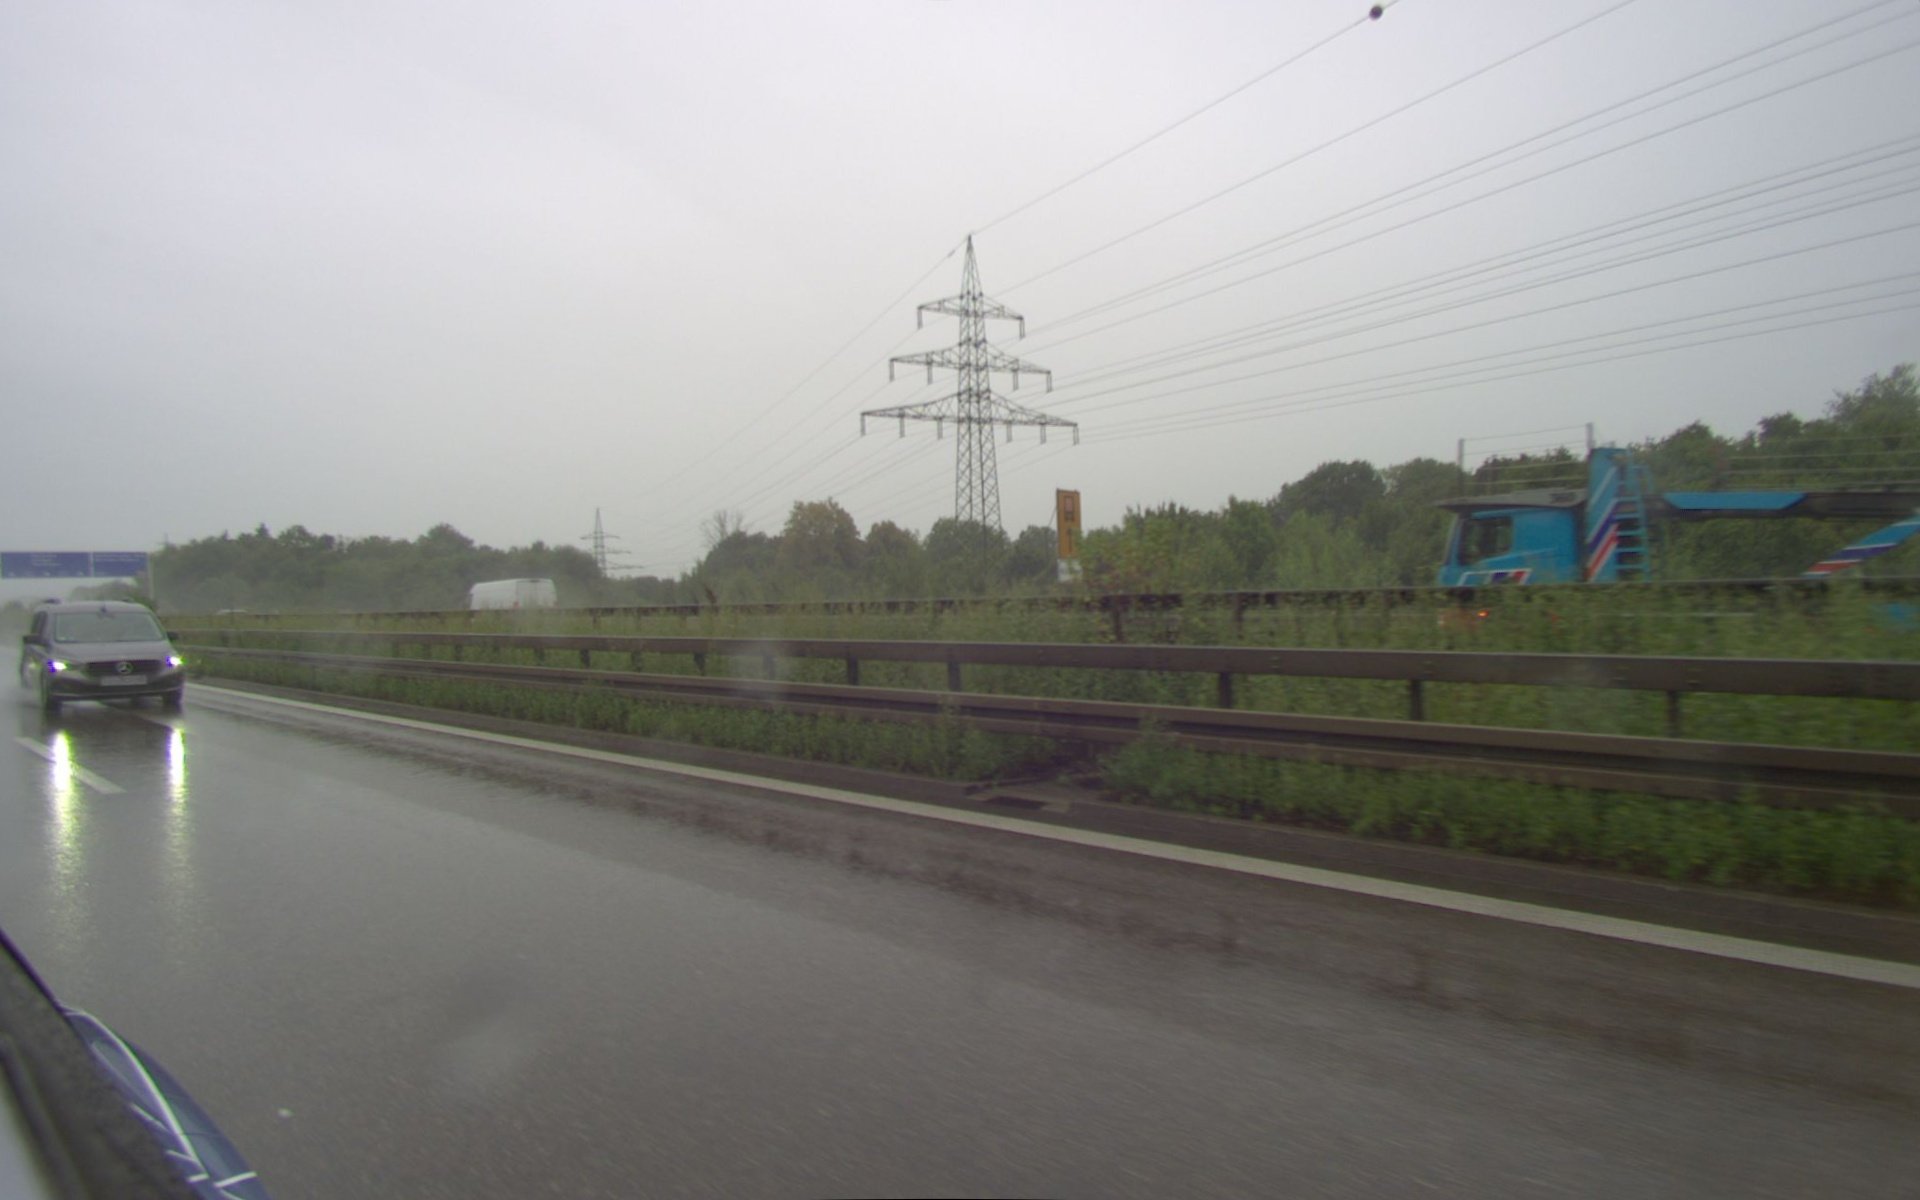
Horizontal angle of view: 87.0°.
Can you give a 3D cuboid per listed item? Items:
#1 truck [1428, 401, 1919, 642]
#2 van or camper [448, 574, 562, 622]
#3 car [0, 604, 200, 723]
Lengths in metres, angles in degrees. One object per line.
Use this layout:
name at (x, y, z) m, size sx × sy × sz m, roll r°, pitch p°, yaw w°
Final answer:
truck at (12.183, -1.109, 16.791) m, size 7.388 × 3.300 × 3.037 m, roll -2°, pitch 2°, yaw 41°
van or camper at (-21.222, -0.063, 46.986) m, size 6.757 × 1.986 × 2.254 m, roll -2°, pitch 1°, yaw 42°
car at (-14.967, 0.991, 17.496) m, size 4.497 × 1.787 × 2.021 m, roll -1°, pitch -1°, yaw 41°
